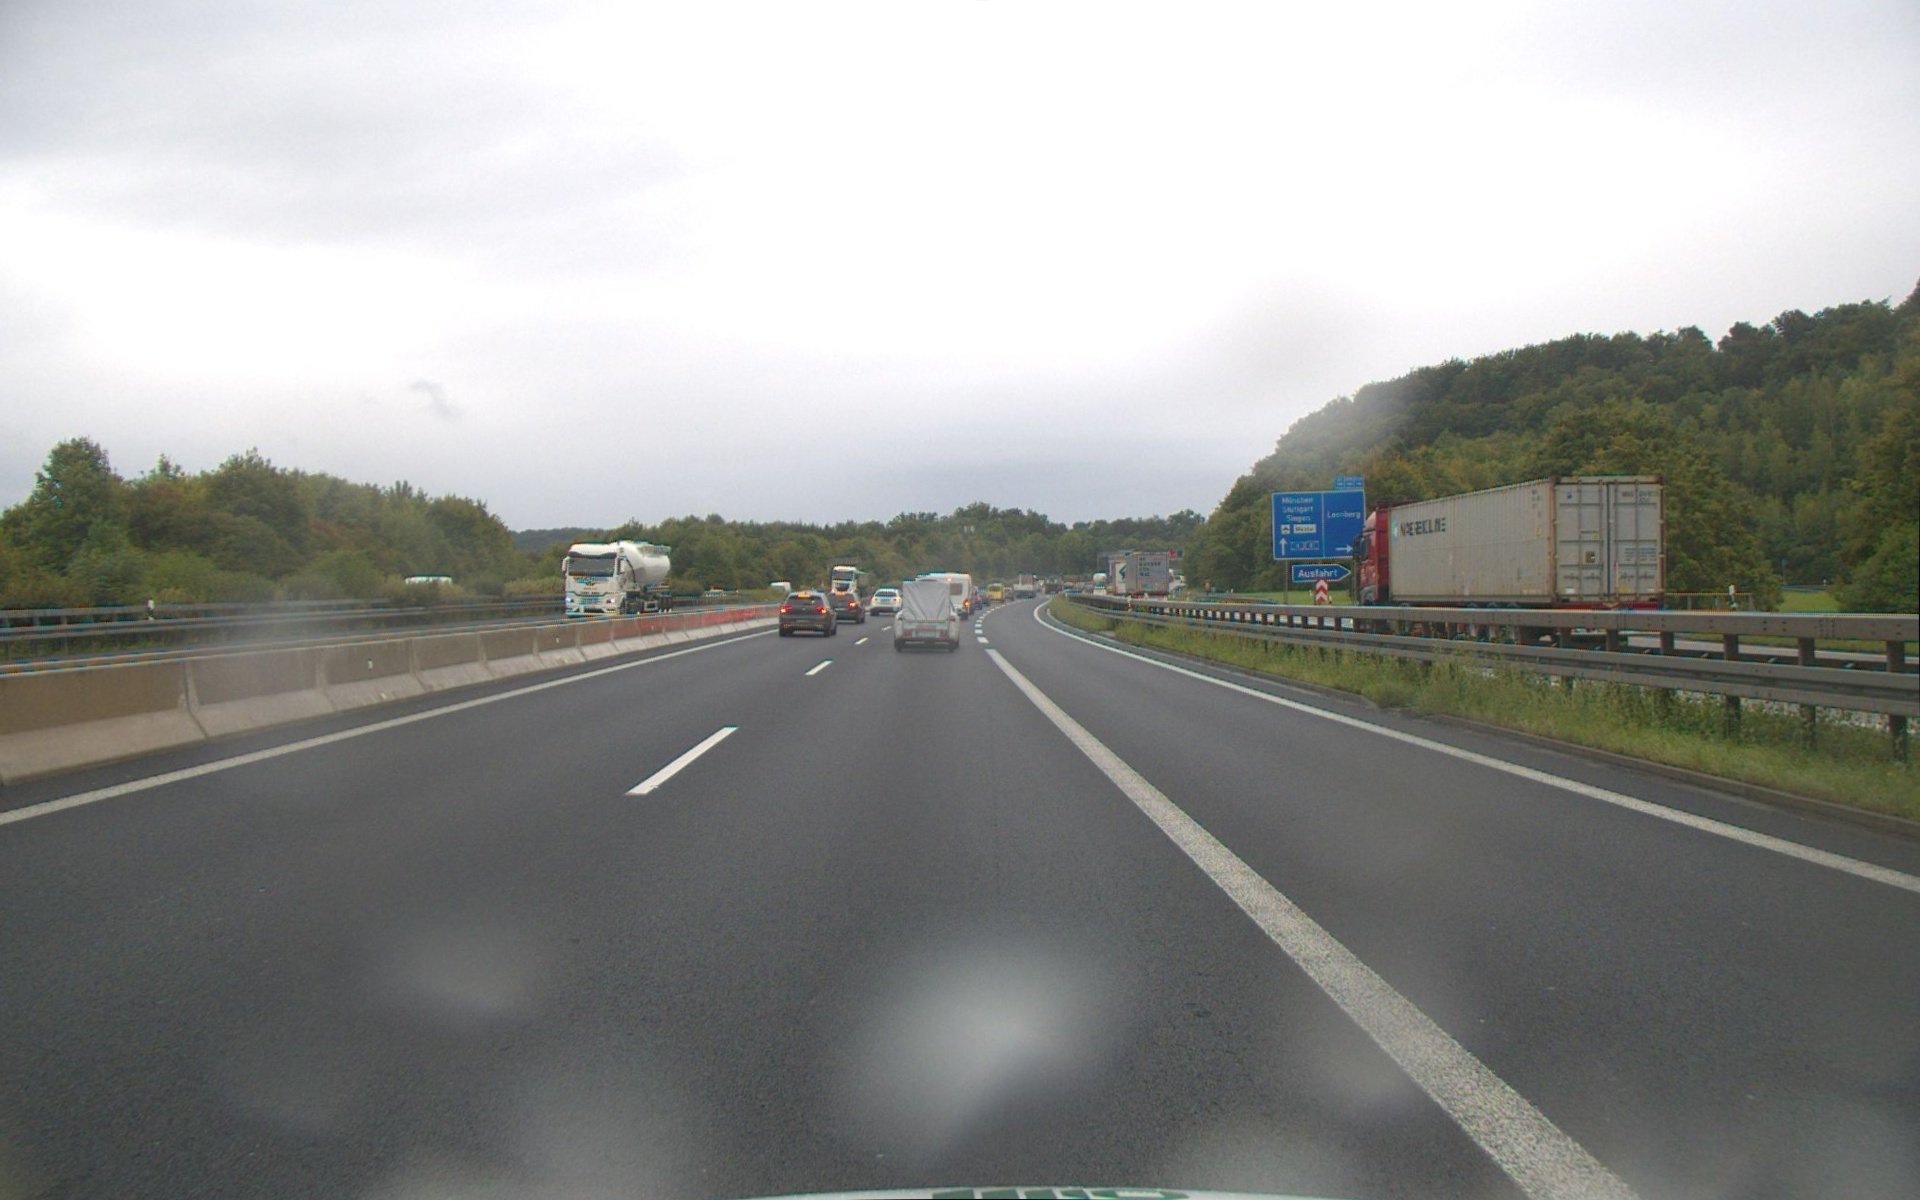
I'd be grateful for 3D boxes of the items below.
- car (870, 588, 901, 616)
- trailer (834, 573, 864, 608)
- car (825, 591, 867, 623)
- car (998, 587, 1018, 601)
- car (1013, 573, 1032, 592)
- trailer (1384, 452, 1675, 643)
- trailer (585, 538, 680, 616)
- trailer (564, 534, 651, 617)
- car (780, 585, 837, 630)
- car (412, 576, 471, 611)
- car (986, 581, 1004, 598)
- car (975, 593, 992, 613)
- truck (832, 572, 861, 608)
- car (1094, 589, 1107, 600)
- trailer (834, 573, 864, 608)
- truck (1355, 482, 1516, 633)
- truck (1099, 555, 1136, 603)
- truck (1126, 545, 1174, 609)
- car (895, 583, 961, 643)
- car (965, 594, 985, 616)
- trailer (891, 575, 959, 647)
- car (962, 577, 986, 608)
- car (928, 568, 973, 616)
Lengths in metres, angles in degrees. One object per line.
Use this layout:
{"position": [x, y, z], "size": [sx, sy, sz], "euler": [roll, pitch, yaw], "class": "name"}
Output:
{"position": [-4.574, 0.141, 101.868], "size": [1.739, 1.669, 4.043], "euler": [0, 0, 0], "class": "car"}
{"position": [-12.328, -1.062, 183.603], "size": [2.844, 3.814, 8.926], "euler": [0, 0, -1], "class": "trailer"}
{"position": [-5.304, 0.320, 77.214], "size": [1.729, 1.481, 3.999], "euler": [0, 0, 0], "class": "car"}
{"position": [5.939, -0.724, 203.305], "size": [1.994, 1.712, 4.003], "euler": [0, 0, 8], "class": "car"}
{"position": [8.806, -2.457, 233.032], "size": [2.463, 2.620, 5.314], "euler": [0, 0, 3], "class": "car"}
{"position": [13.432, -1.092, 40.594], "size": [2.551, 3.962, 12.486], "euler": [0, 0, -1], "class": "trailer"}
{"position": [-16.736, -1.109, 85.310], "size": [2.582, 3.801, 10.811], "euler": [0, 0, 1], "class": "trailer"}
{"position": [-16.856, -1.127, 79.414], "size": [2.582, 3.780, 6.493], "euler": [0, 0, 2], "class": "trailer"}
{"position": [-5.109, 0.256, 56.215], "size": [1.642, 1.481, 3.999], "euler": [0, 0, -1], "class": "car"}
{"position": [-30.917, -0.390, 98.735], "size": [1.835, 2.049, 5.299], "euler": [0, 0, 0], "class": "car"}
{"position": [3.877, -1.132, 184.932], "size": [1.640, 1.844, 4.003], "euler": [0, 0, 6], "class": "car"}
{"position": [2.259, 0.299, 158.679], "size": [1.641, 1.844, 4.000], "euler": [0, 0, 1], "class": "car"}
{"position": [-12.279, -1.063, 179.284], "size": [2.828, 3.814, 5.944], "euler": [0, 0, -1], "class": "truck"}
{"position": [19.533, -0.734, 230.268], "size": [1.640, 1.481, 4.003], "euler": [0, 0, 7], "class": "car"}
{"position": [-12.328, -1.062, 183.603], "size": [2.844, 3.814, 8.926], "euler": [0, 0, -1], "class": "trailer"}
{"position": [13.264, -1.119, 46.639], "size": [2.563, 3.952, 6.390], "euler": [0, 0, -2], "class": "truck"}
{"position": [16.058, -2.077, 169.239], "size": [3.148, 4.748, 13.037], "euler": [0, 0, 3], "class": "truck"}
{"position": [14.737, -1.722, 129.142], "size": [3.148, 4.748, 13.039], "euler": [0, 0, 4], "class": "truck"}
{"position": [-0.880, 0.358, 47.569], "size": [1.781, 1.644, 4.778], "euler": [0, 0, 0], "class": "car"}
{"position": [1.280, 0.415, 137.408], "size": [1.641, 1.844, 4.000], "euler": [0, 0, 1], "class": "car"}
{"position": [-0.891, 0.281, 44.056], "size": [1.641, 1.844, 4.000], "euler": [0, 0, 1], "class": "trailer"}
{"position": [0.942, -0.484, 114.271], "size": [1.641, 2.103, 3.999], "euler": [0, 0, 0], "class": "car"}
{"position": [-0.528, -0.444, 95.168], "size": [2.456, 2.630, 5.700], "euler": [0, 0, 1], "class": "car"}
